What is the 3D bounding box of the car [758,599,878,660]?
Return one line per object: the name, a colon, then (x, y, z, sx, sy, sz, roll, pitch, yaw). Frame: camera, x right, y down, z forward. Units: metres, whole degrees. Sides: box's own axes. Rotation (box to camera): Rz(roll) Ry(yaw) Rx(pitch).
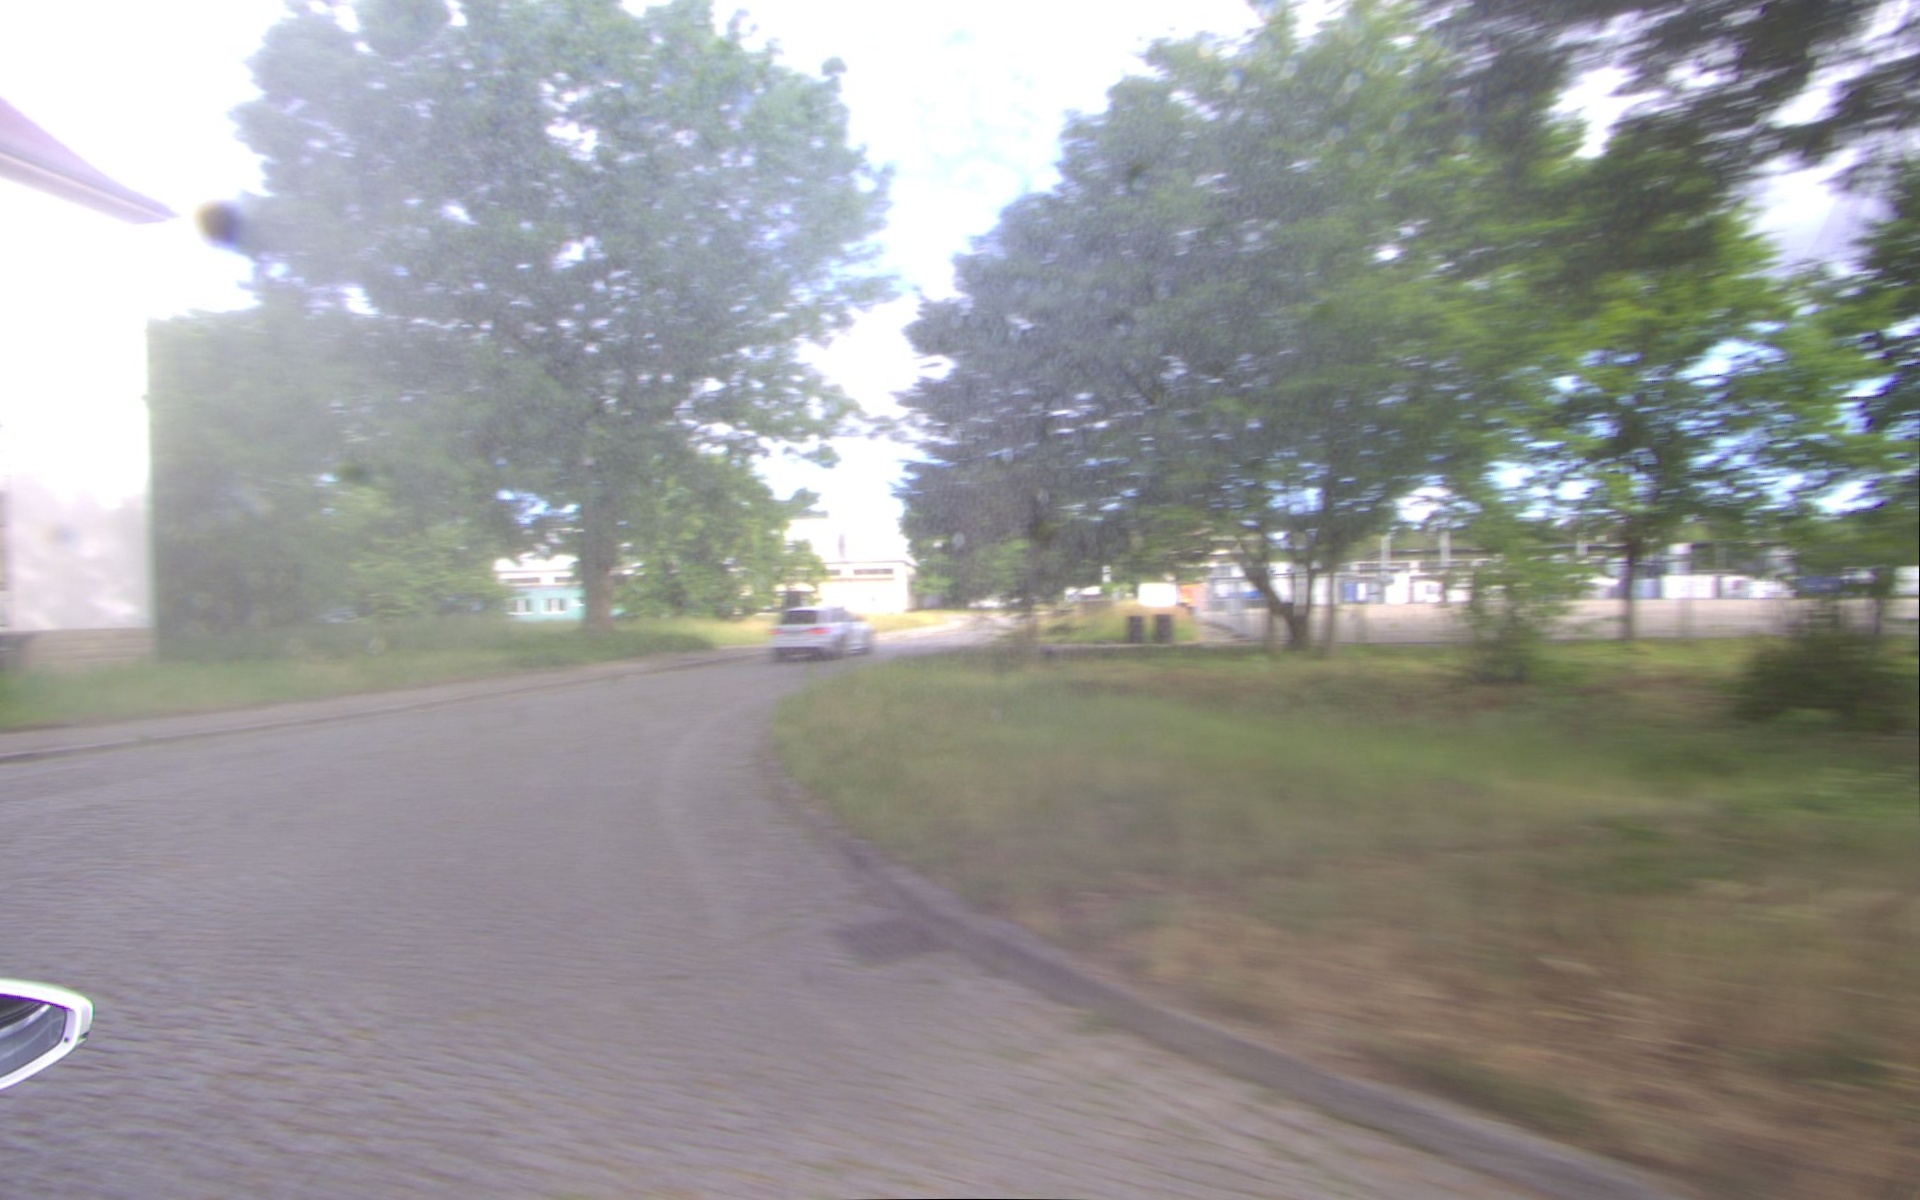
car: (-3.760, 0.750, 27.469, 1.820, 1.456, 4.702, -2, 0, 11)
